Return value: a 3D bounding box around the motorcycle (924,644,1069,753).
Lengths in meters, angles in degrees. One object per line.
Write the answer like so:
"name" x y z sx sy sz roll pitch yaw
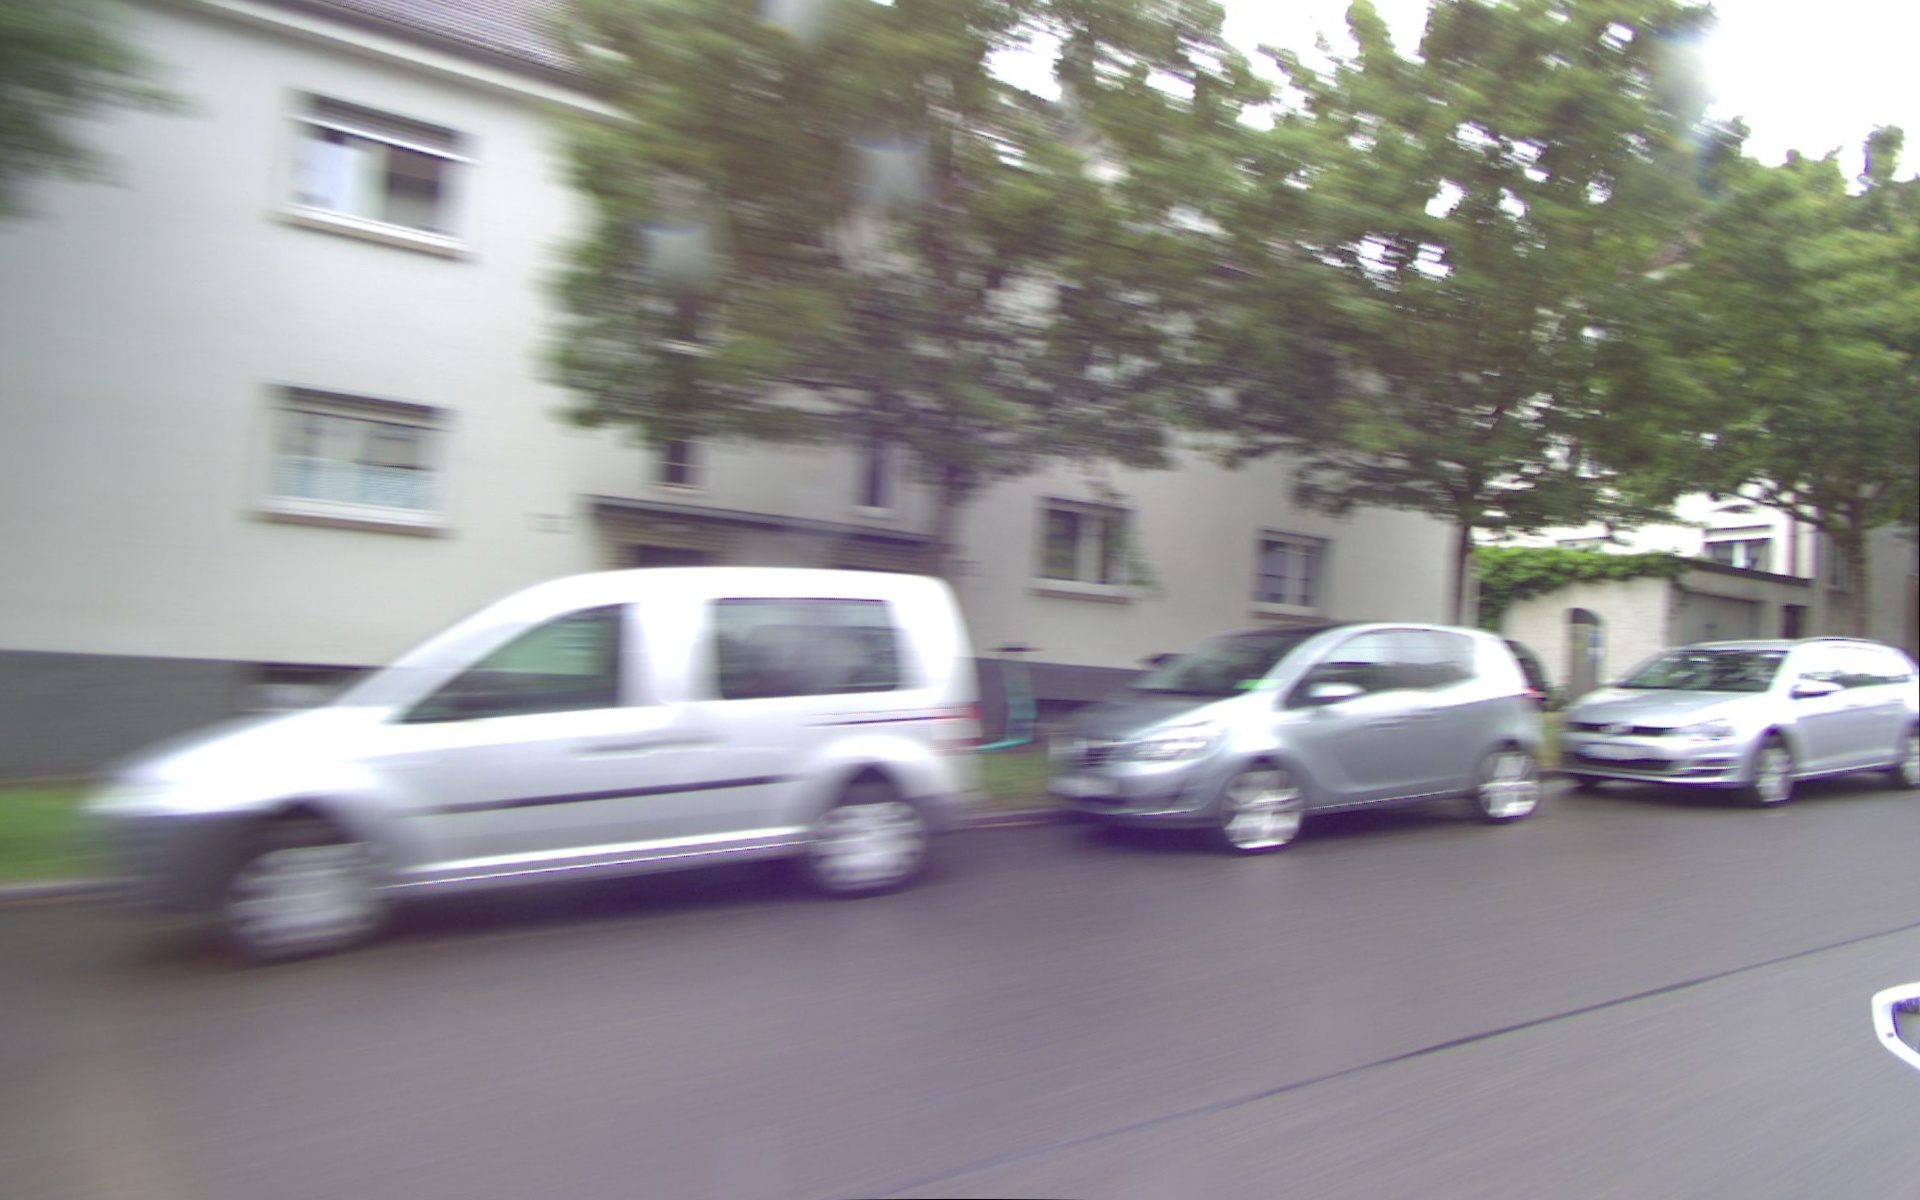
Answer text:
"motorcycle" 0.411 1.035 10.897 1.601 1.113 0.409 1 -1 -31

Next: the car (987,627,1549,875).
"car" 2.474 1.049 7.899 4.182 1.505 1.798 3 -3 -27

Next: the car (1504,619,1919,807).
"car" 7.756 1.047 10.010 4.537 1.472 1.798 3 0 -27

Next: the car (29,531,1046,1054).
"car" -1.960 0.836 5.752 4.489 2.028 1.907 3 0 -26

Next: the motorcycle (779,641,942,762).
"motorcycle" -0.980 0.983 10.092 1.601 1.135 0.428 1 -1 -31

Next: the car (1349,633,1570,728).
"car" 10.456 1.762 21.295 1.778 1.561 3.679 1 -11 -31
